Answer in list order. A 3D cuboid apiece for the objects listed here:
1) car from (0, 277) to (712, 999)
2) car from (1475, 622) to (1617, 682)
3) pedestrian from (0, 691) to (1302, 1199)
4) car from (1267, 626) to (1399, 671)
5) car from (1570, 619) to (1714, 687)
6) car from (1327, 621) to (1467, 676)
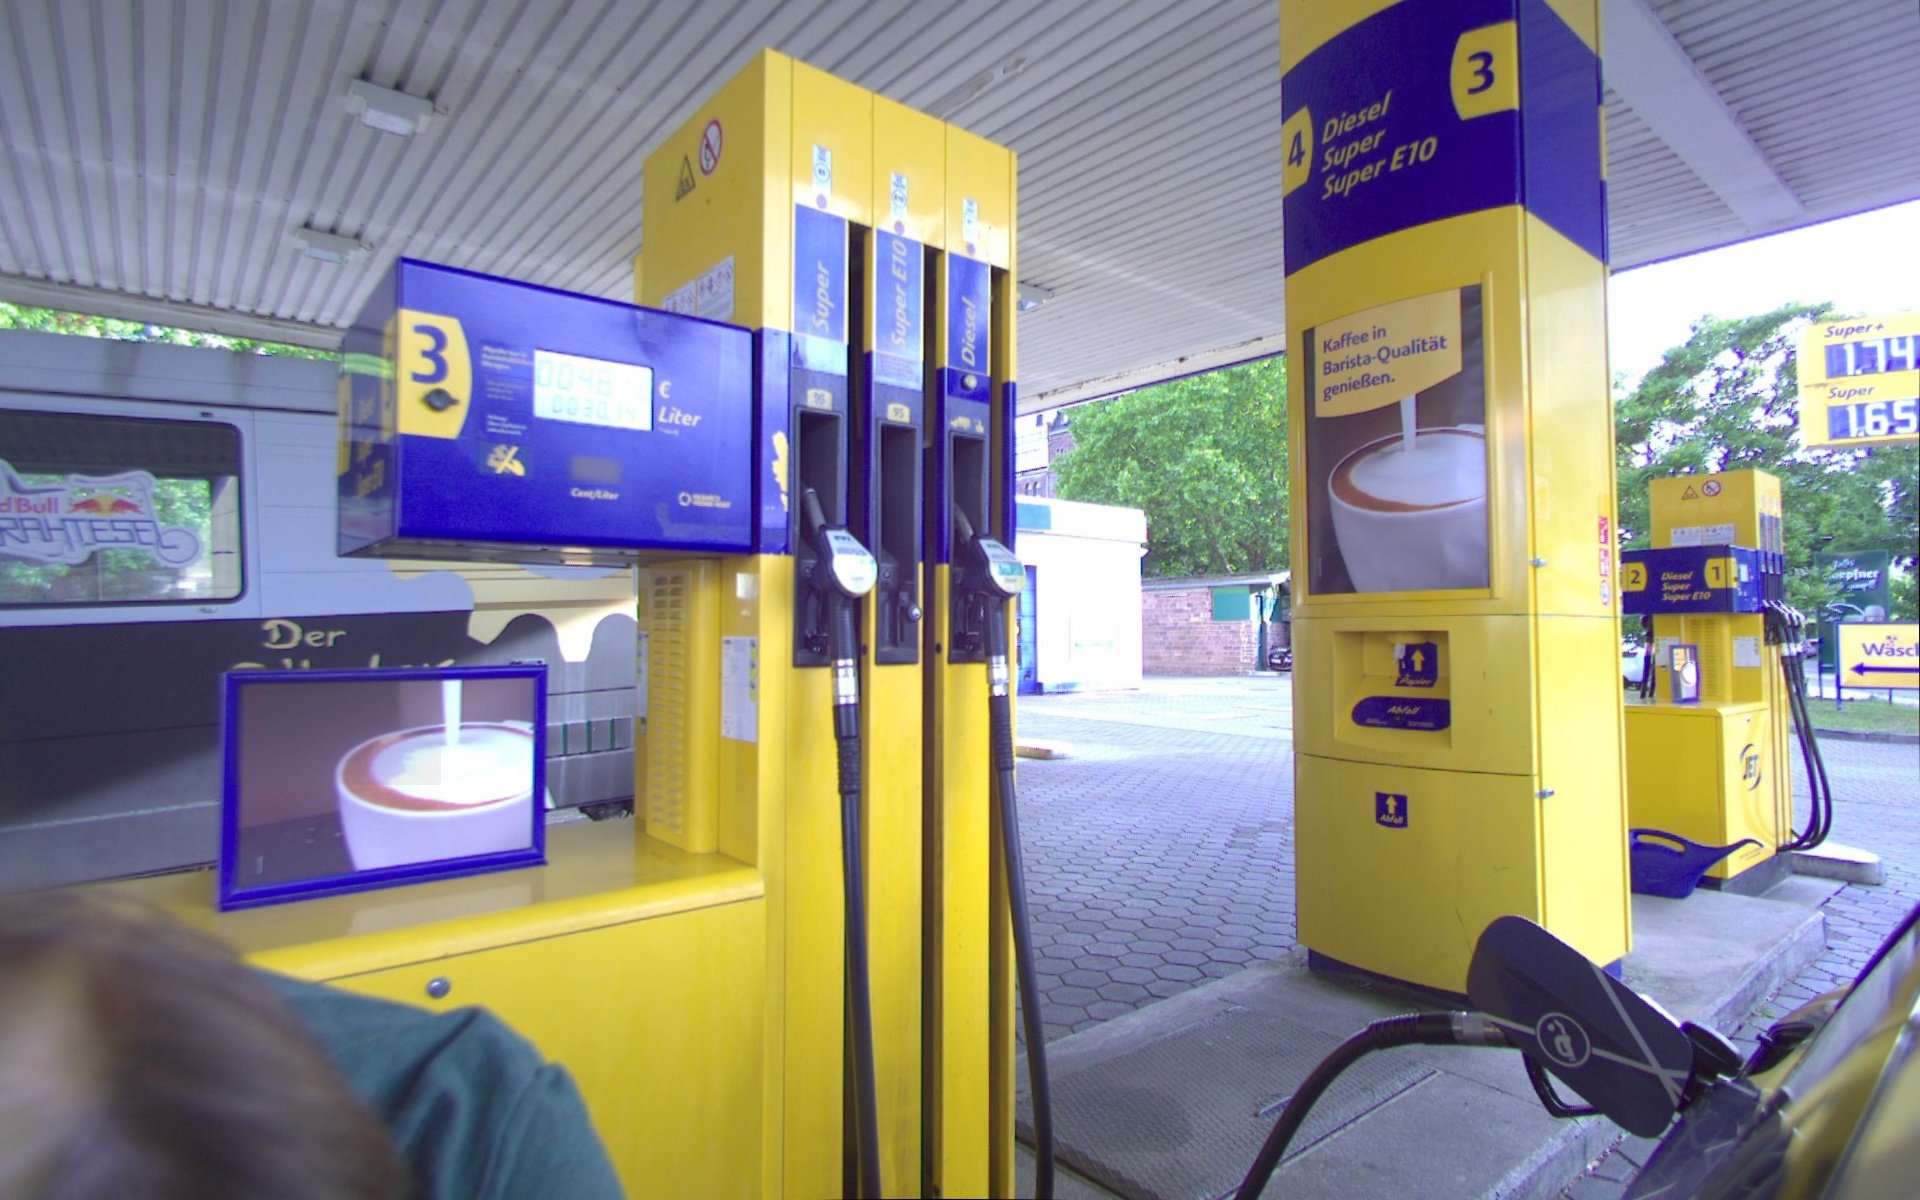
[{"bbox_3d":[-4.101,0.160,4.894,5.197,2.726,2.258,1,-2,-39],"label":"car"},{"bbox_3d":[17.854,1.587,30.802,4.303,1.622,1.776,4,-4,-28],"label":"car"},{"bbox_3d":[-0.326,0.748,0.547,0.662,1.298,0.751,0,0,-41],"label":"pedestrian"},{"bbox_3d":[12.698,1.651,34.429,4.303,1.393,1.777,2,-1,-28],"label":"car"},{"bbox_3d":[18.364,1.444,27.203,4.308,1.622,1.774,4,-4,-35],"label":"car"},{"bbox_3d":[13.895,1.528,32.137,4.303,1.622,1.777,2,-1,-28],"label":"car"}]
